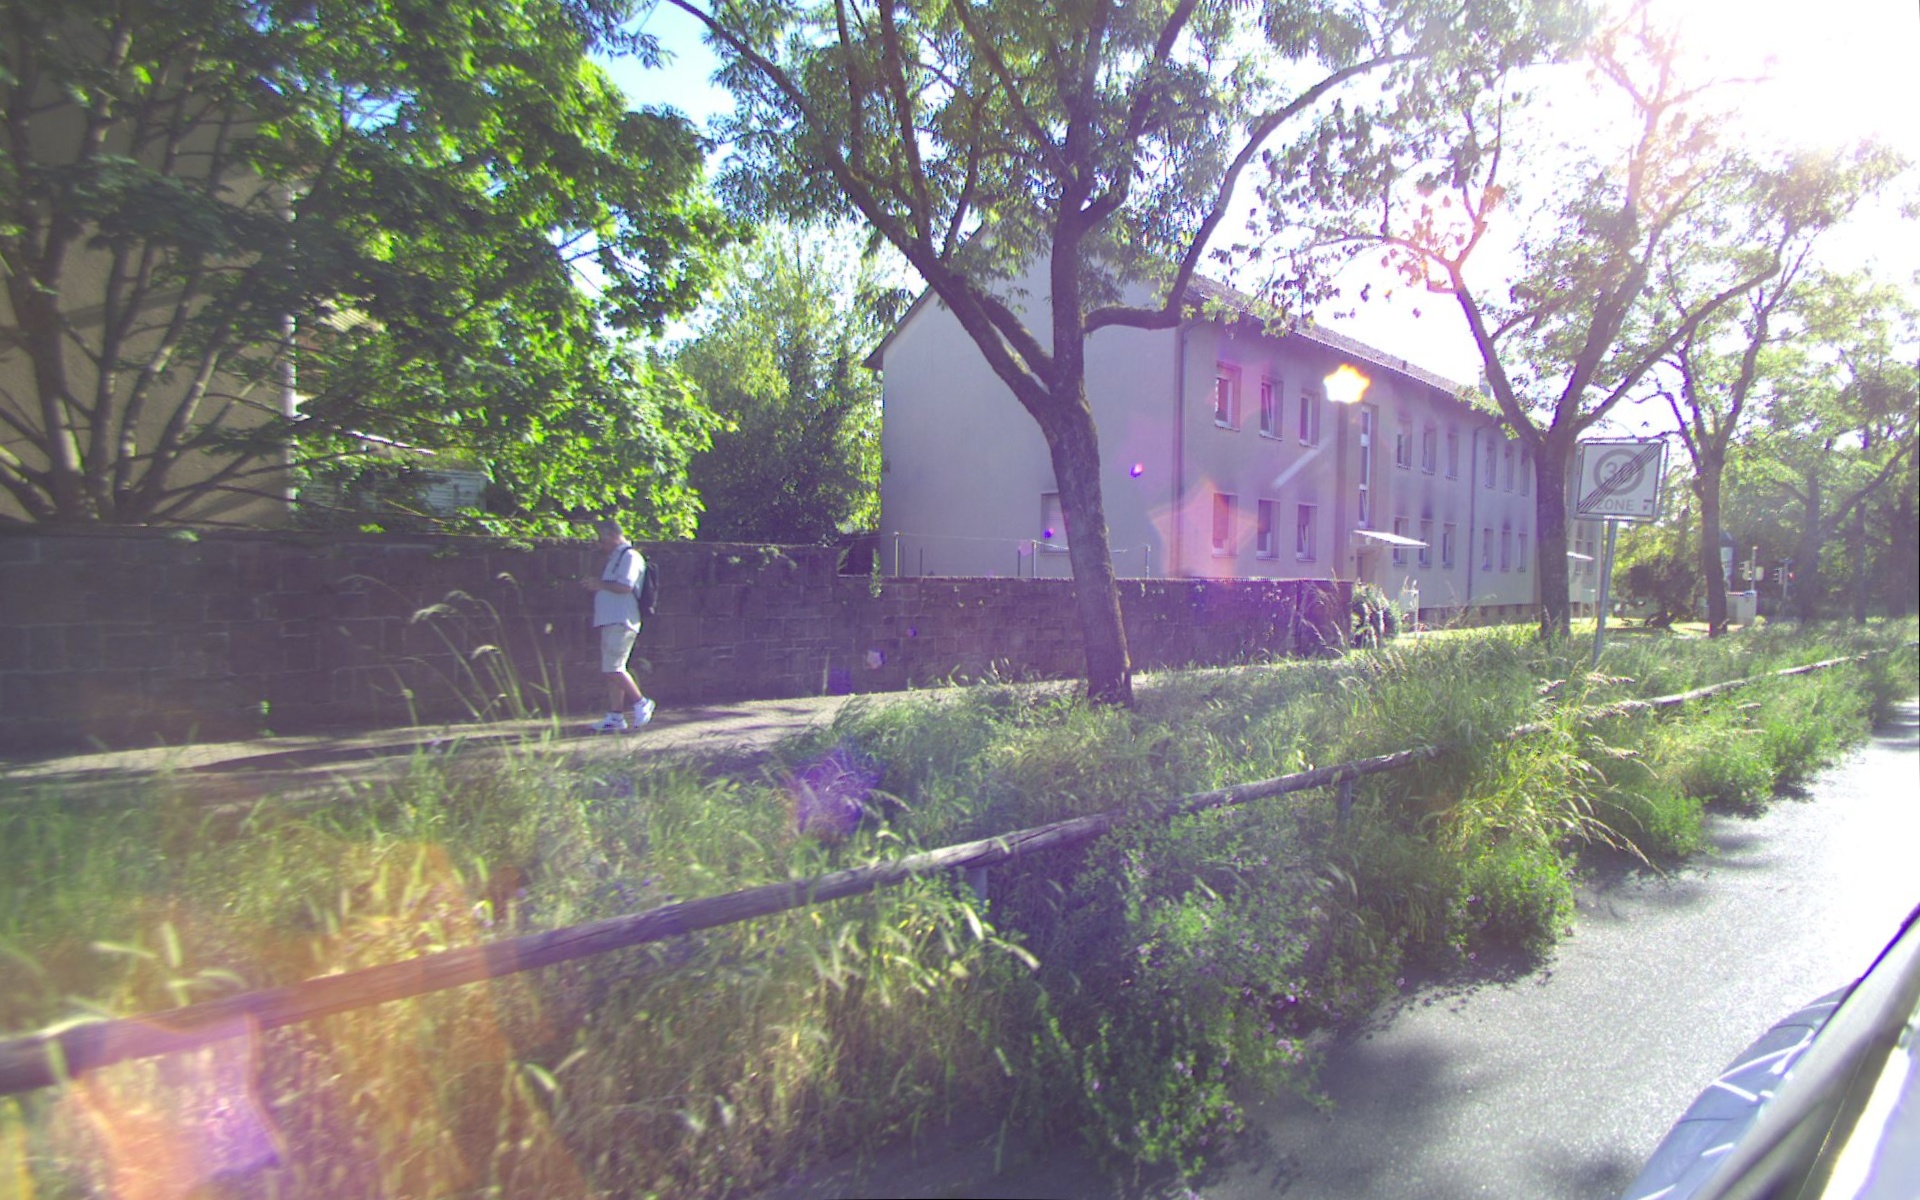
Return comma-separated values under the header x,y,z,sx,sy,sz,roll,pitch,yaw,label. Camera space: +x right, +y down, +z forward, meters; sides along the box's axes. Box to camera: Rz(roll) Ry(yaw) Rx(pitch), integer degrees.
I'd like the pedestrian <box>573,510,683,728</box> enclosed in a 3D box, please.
x,y,z,sx,sy,sz,roll,pitch,yaw,label
-2.782,0.134,8.479,0.601,1.726,0.638,1,3,-42,pedestrian
